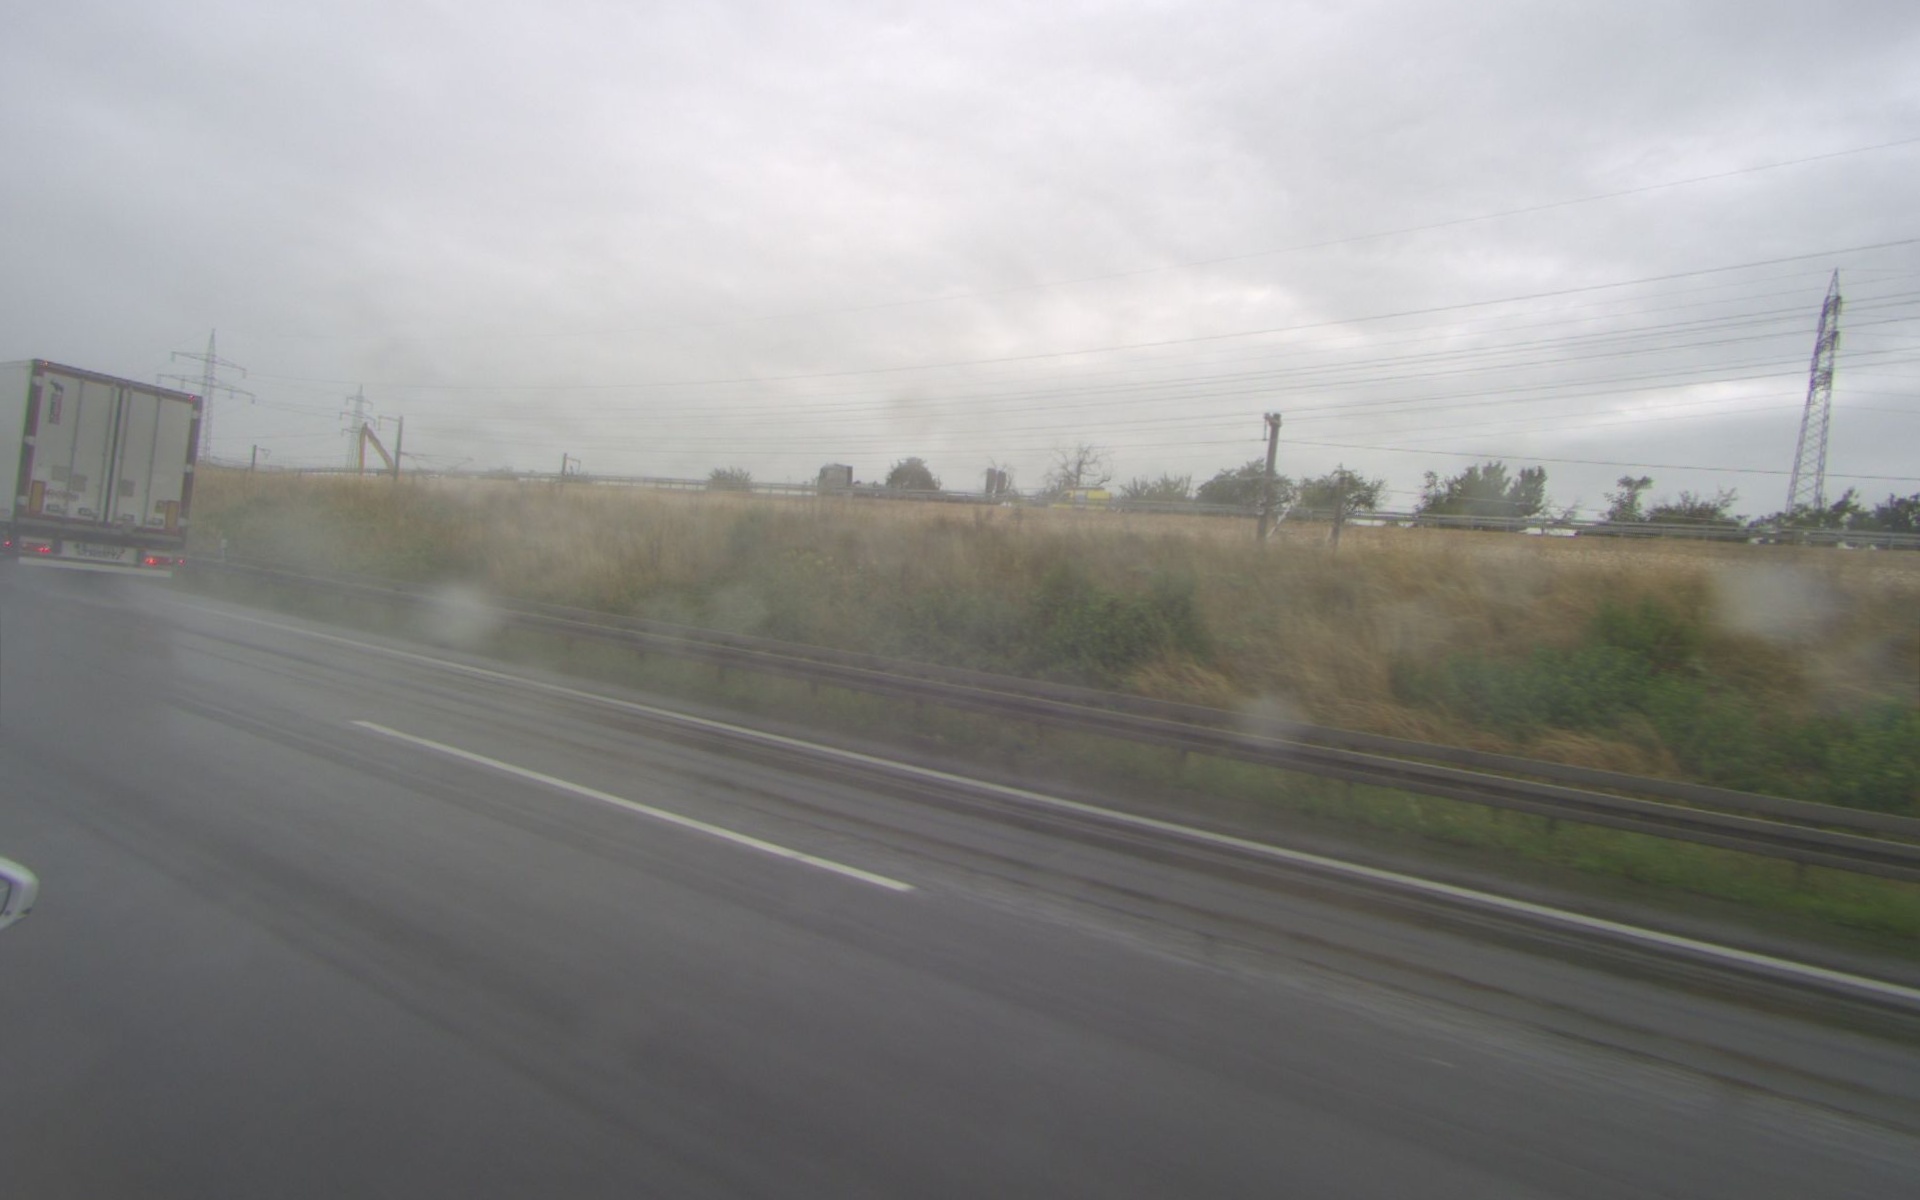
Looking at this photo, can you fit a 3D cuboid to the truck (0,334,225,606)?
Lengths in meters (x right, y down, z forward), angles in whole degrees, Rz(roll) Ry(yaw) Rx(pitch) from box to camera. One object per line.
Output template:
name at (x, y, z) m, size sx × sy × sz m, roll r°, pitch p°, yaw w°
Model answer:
truck at (-23.003, -3.133, 23.515) m, size 16.077 × 4.642 × 3.046 m, roll 7°, pitch -1°, yaw 31°
